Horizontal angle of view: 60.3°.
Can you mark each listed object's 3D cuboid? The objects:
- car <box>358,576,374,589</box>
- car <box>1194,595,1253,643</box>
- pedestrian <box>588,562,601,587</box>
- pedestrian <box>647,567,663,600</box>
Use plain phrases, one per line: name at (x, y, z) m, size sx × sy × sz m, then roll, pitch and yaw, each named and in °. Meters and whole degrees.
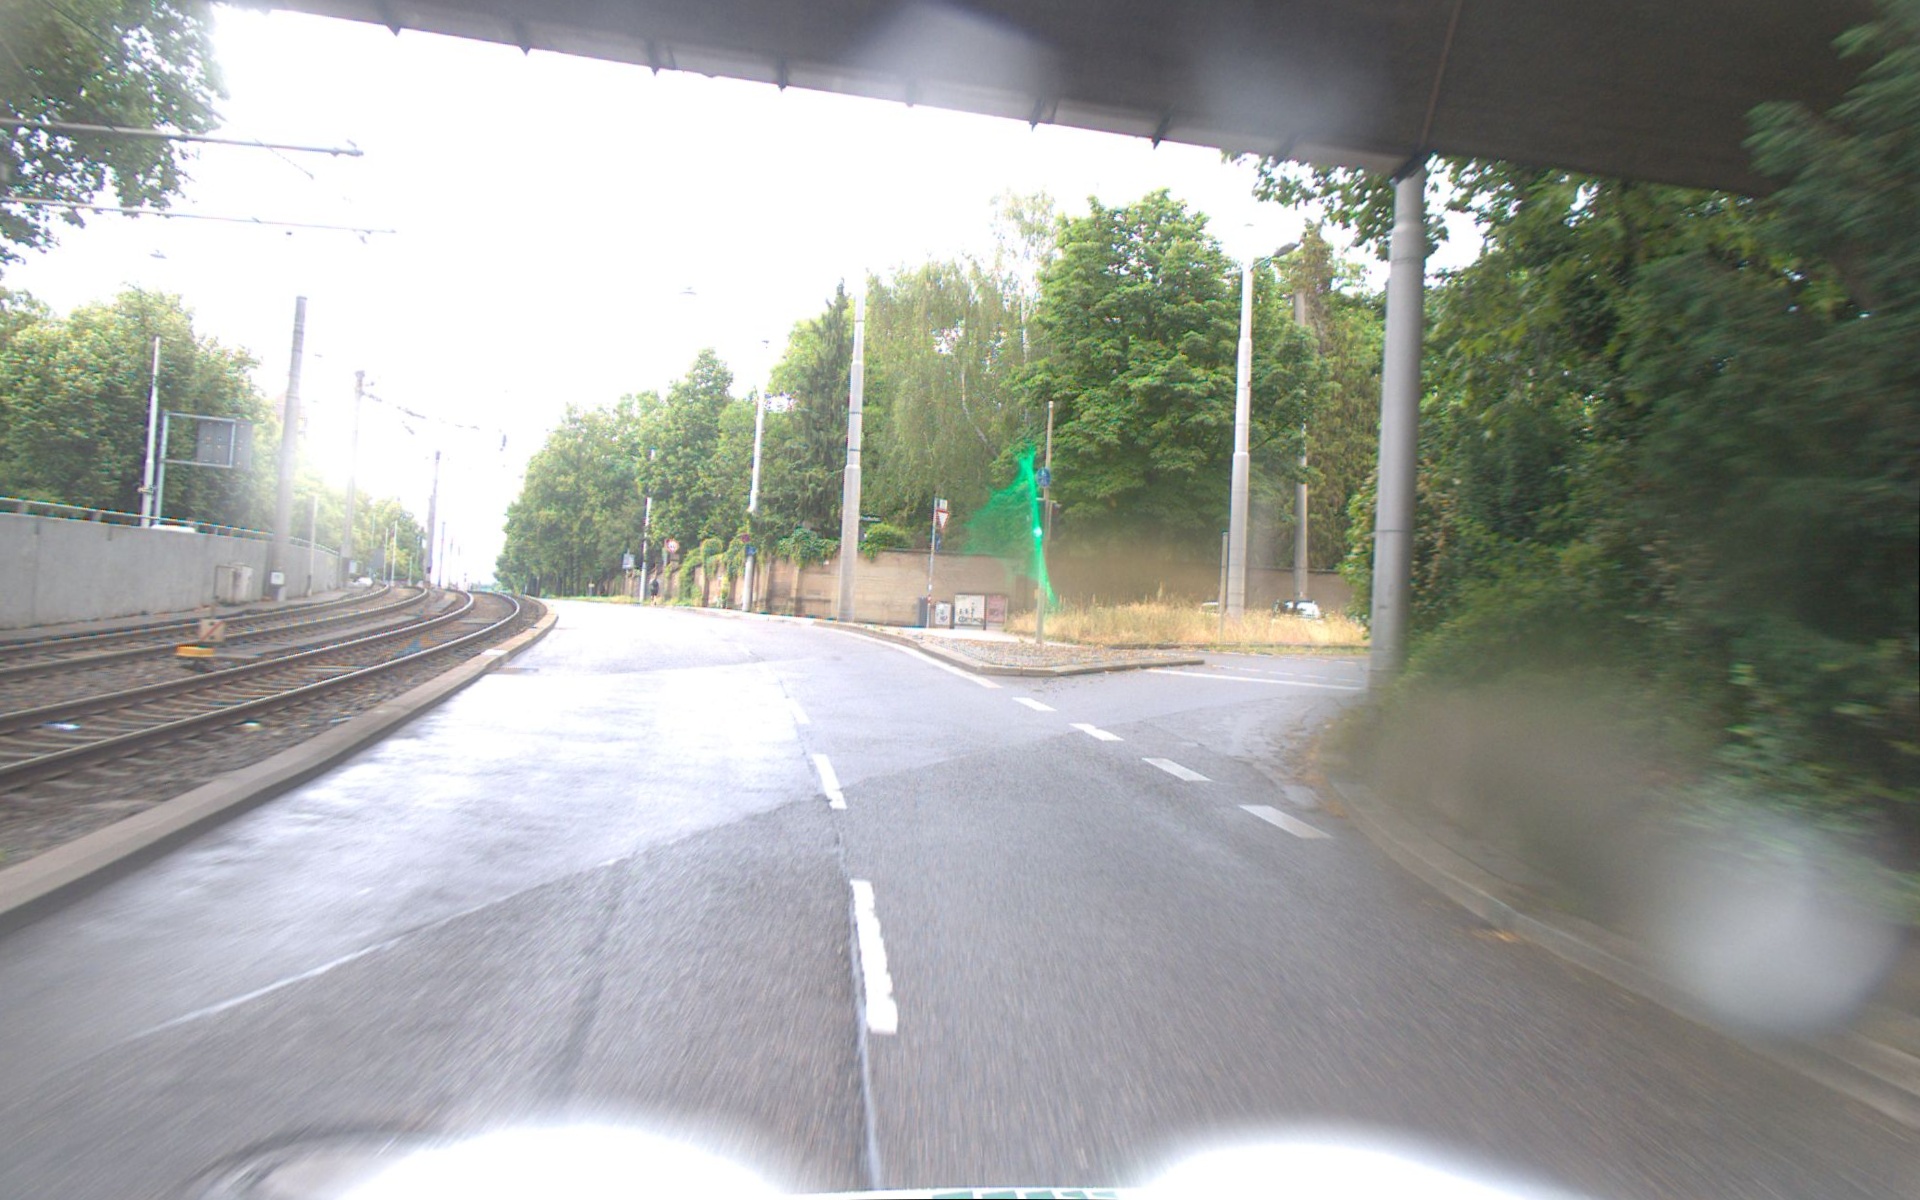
car at (-80.401, -2.385, 223.891) m, size 1.766 × 1.536 × 3.831 m, roll 4°, pitch 0°, yaw -17°
car at (8.535, 0.647, 53.705) m, size 1.716 × 1.431 × 4.003 m, roll 2°, pitch -1°, yaw 7°
pedestrian at (-26.873, -1.867, 121.625) m, size 0.708 × 1.716 × 0.726 m, roll 5°, pitch -2°, yaw -17°
pedestrian at (-18.044, -0.996, 97.947) m, size 0.708 × 1.882 × 0.779 m, roll 5°, pitch -2°, yaw -17°
